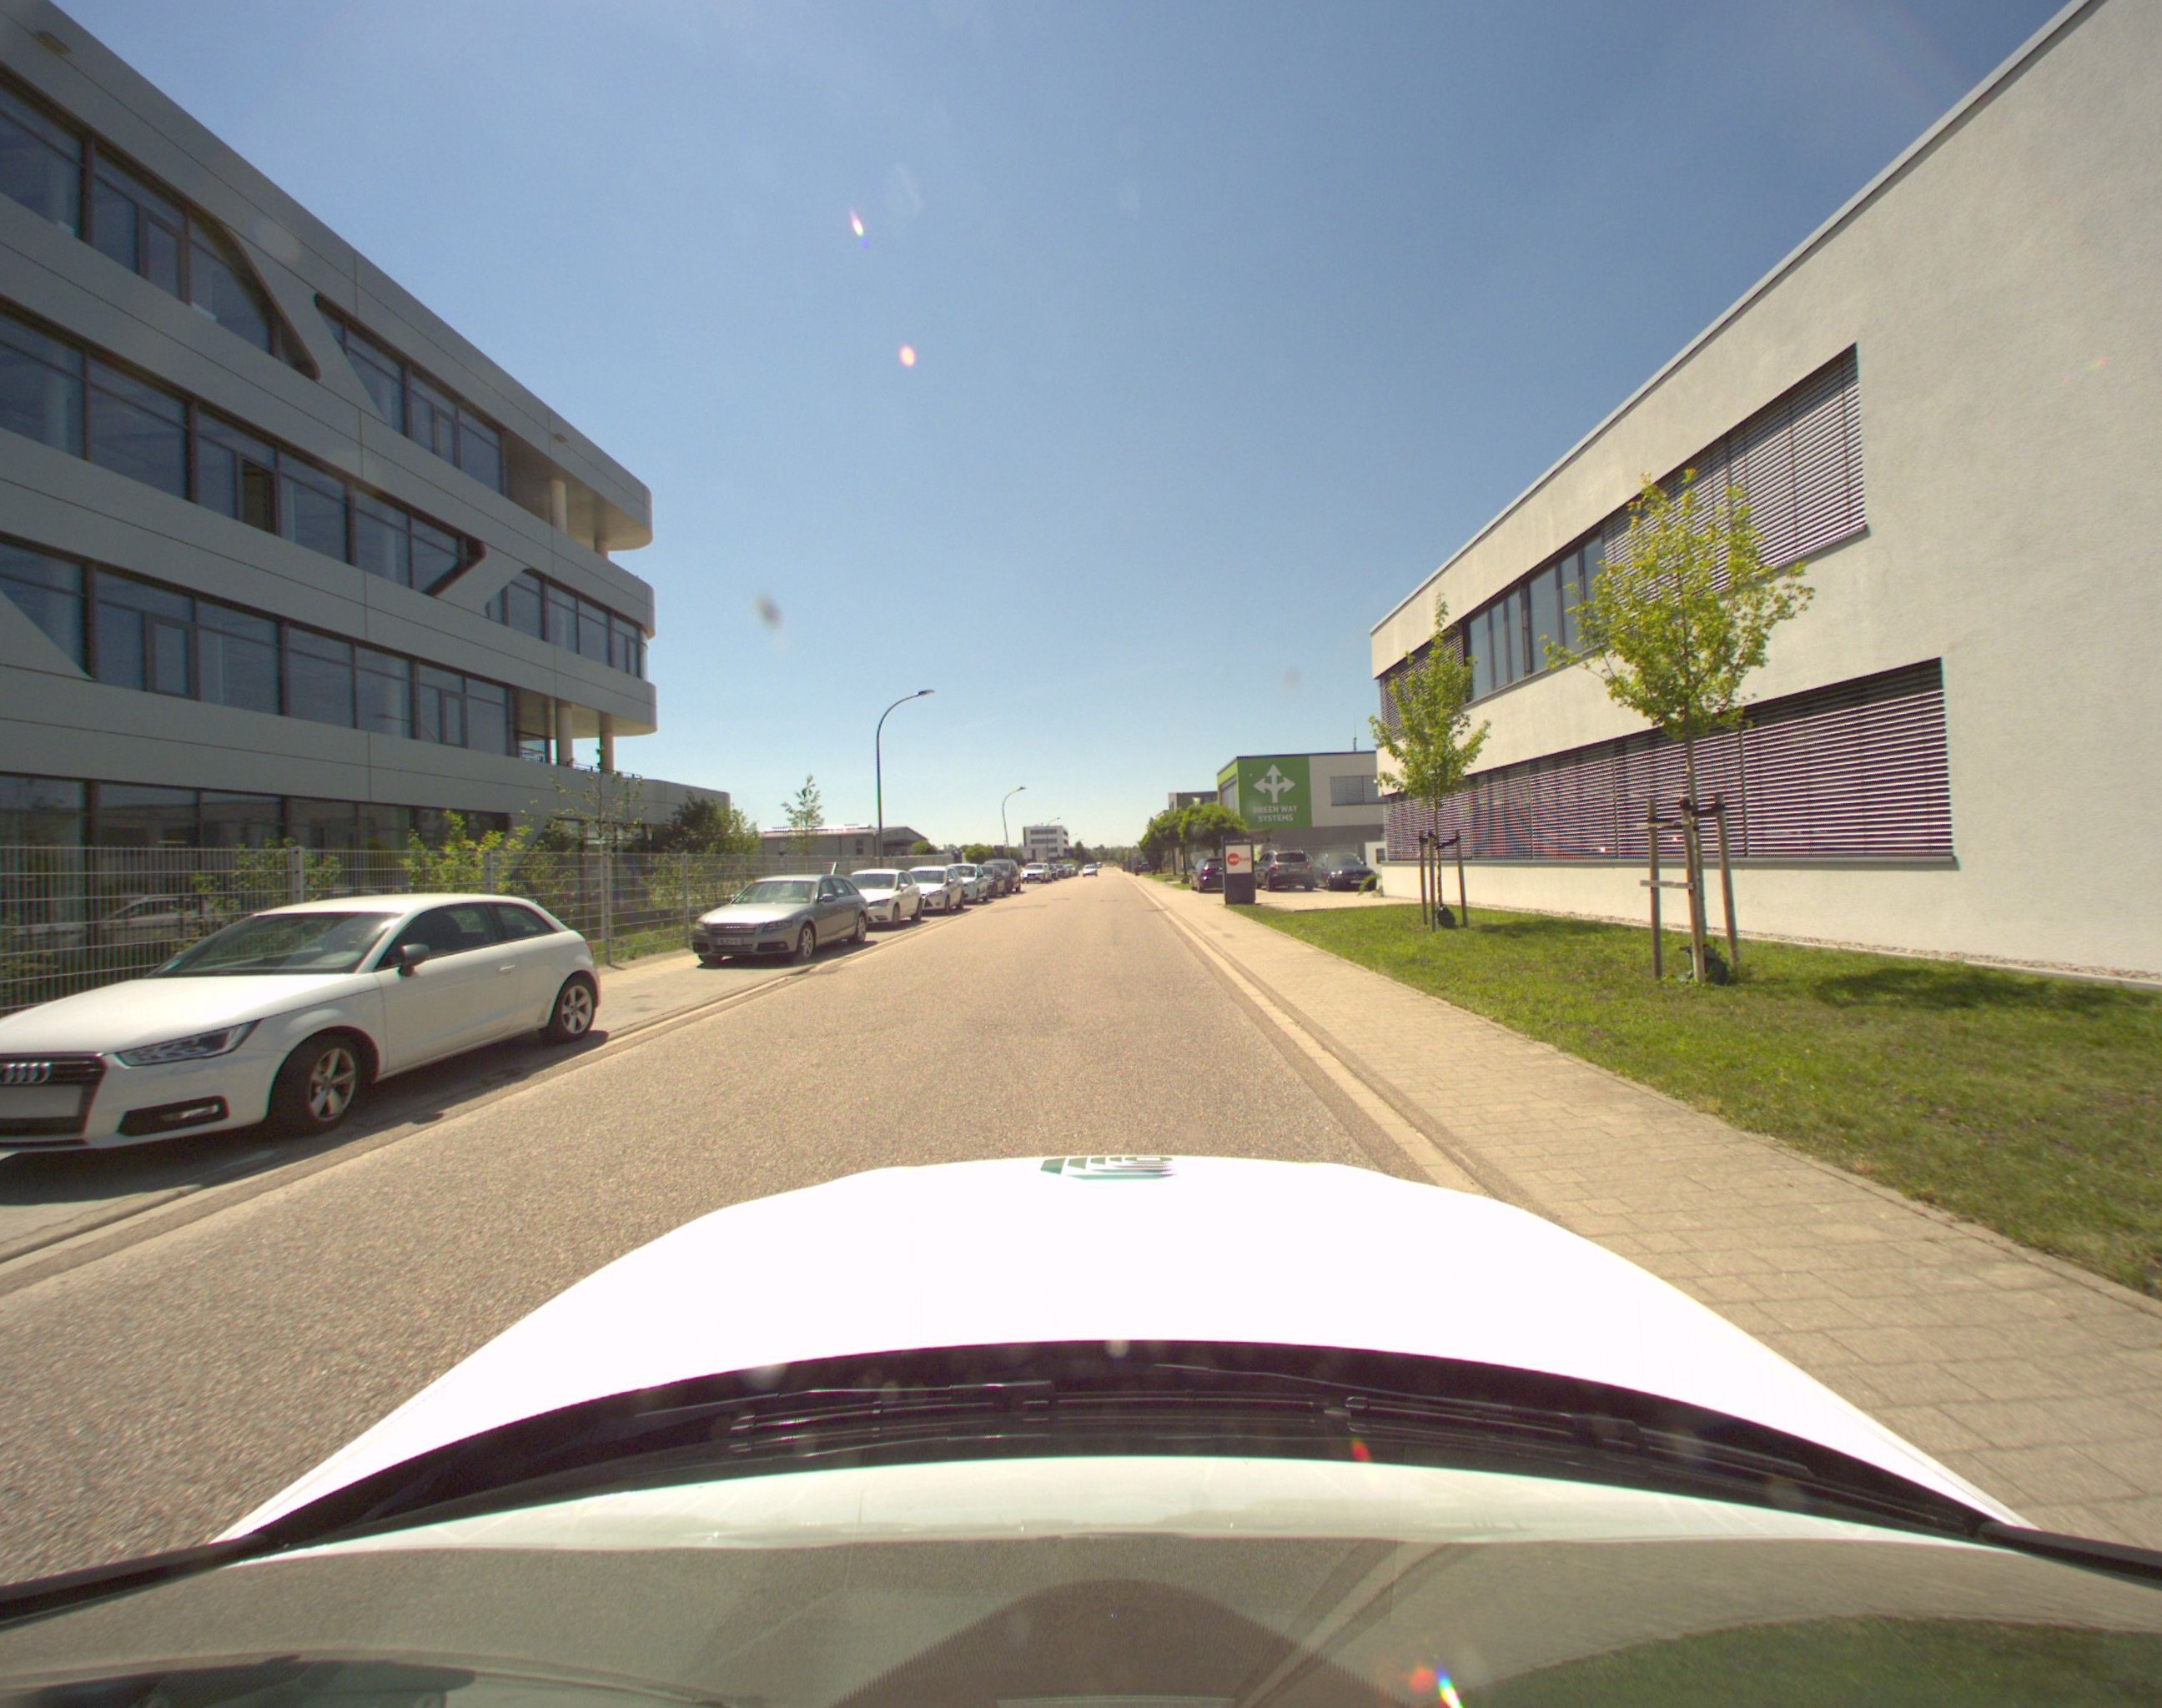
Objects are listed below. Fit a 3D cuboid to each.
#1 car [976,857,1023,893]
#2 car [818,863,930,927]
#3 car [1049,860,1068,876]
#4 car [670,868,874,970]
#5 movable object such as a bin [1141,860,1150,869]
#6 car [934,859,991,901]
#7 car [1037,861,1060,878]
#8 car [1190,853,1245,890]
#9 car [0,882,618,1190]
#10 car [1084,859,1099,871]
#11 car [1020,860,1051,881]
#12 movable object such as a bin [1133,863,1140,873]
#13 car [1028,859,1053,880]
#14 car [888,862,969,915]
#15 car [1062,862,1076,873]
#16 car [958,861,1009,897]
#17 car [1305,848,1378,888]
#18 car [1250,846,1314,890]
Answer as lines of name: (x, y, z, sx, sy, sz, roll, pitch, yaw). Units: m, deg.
car: (-4.159, 1.051, 42.202, 1.796, 1.719, 4.624, -1, 0, 2)
car: (-5.261, 0.997, 21.335, 1.697, 1.444, 4.440, -1, 0, 1)
car: (-2.450, 1.512, 88.468, 1.784, 1.607, 4.463, -1, -1, 1)
car: (-5.288, 1.030, 14.692, 1.677, 1.386, 4.642, -2, 0, 3)
movable object such as a bin: (10.295, 1.681, 129.460, 1.329, 1.459, 0.949, -3, -1, 1)
car: (-4.641, 0.993, 32.348, 1.629, 1.536, 3.658, -1, 0, 1)
car: (-2.997, 1.388, 75.240, 1.756, 1.517, 4.381, -1, -1, 1)
car: (5.562, 0.691, 33.692, 1.686, 1.428, 4.248, -1, 0, 2)
car: (-5.464, 1.010, 6.123, 1.694, 1.386, 3.936, -2, 0, -1)
car: (1.311, 1.334, 99.972, 1.698, 1.411, 4.786, -4, -1, 2)
car: (-3.435, 1.238, 62.322, 1.779, 1.542, 4.368, -2, -1, 4)
movable object such as a bin: (5.664, 1.415, 82.938, 0.548, 0.928, 0.523, -6, -2, 11)
car: (-3.338, 1.252, 67.779, 1.781, 1.656, 3.769, -2, -1, 1)
car: (-4.874, 1.066, 26.660, 1.697, 1.536, 4.573, -1, 0, 1)
car: (-1.665, 1.897, 113.958, 1.763, 1.592, 4.360, -1, -1, 1)
car: (-4.410, 1.104, 37.425, 1.628, 1.500, 3.974, -1, 0, 3)
car: (10.370, 0.547, 32.720, 1.716, 1.449, 4.024, -1, 0, 2)
car: (8.146, 0.541, 33.262, 1.716, 1.633, 4.024, -1, 0, 2)
